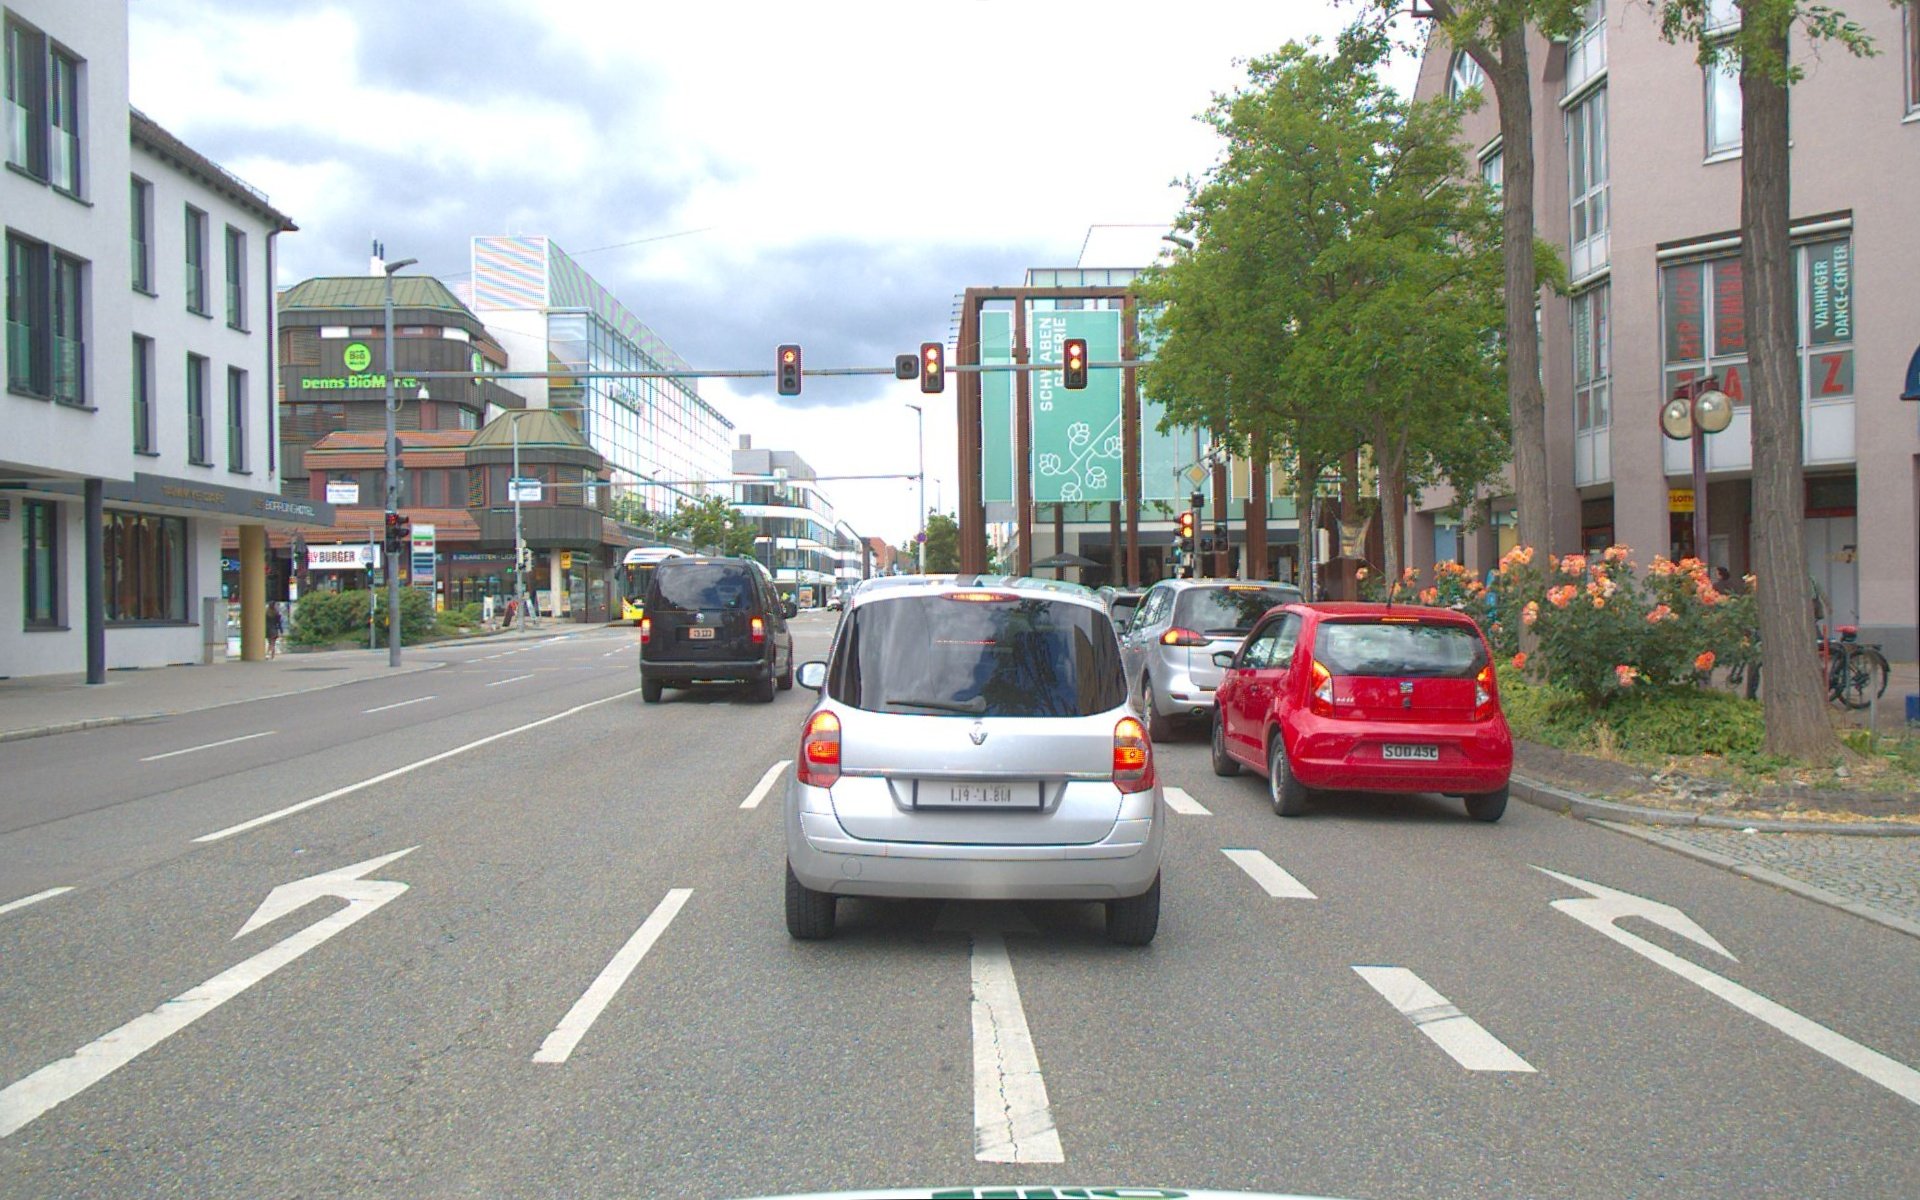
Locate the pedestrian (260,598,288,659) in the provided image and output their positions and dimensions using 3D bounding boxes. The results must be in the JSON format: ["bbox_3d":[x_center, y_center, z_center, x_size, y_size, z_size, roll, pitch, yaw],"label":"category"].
[{"bbox_3d":[-19.346,0.791,46.624,0.693,1.687,0.934,-1,0,-22],"label":"pedestrian"}]

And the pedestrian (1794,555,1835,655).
[{"bbox_3d":[14.863,0.086,28.782,0.624,1.706,0.588,0,0,28],"label":"pedestrian"}]

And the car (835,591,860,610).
[{"bbox_3d":[-9.338,0.048,137.426,1.764,1.567,4.065,0,0,0],"label":"car"}]

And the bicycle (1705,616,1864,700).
[{"bbox_3d":[10.236,0.718,20.566,1.731,1.014,0.447,-1,0,3],"label":"bicycle"}]

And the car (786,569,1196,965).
[{"bbox_3d":[0.094,0.652,8.226,1.606,1.554,3.393,1,0,-1],"label":"car"}]

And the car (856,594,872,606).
[{"bbox_3d":[-12.598,0.003,217.345,1.764,1.567,4.065,0,0,0],"label":"car"}]

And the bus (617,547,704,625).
[{"bbox_3d":[-13.448,-0.618,74.889,2.633,3.318,8.650,0,0,-2],"label":"bus"}]

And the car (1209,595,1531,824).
[{"bbox_3d":[2.962,0.719,12.601,1.554,1.468,3.348,1,0,-1],"label":"car"}]

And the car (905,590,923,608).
[{"bbox_3d":[-5.123,-0.109,184.207,1.953,1.983,4.949,0,0,-2],"label":"car"}]

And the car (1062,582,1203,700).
[{"bbox_3d":[2.552,0.567,25.179,1.555,1.623,3.866,1,0,-3],"label":"car"}]

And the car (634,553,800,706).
[{"bbox_3d":[-3.264,0.353,23.028,1.709,1.887,4.633,1,0,-1],"label":"car"}]

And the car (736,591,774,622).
[{"bbox_3d":[-9.880,0.305,79.755,1.524,1.417,3.286,0,0,-2],"label":"car"}]

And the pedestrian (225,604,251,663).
[{"bbox_3d":[-20.858,0.950,47.768,0.653,1.678,0.788,-1,0,-22],"label":"pedestrian"}]

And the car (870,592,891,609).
[{"bbox_3d":[-7.553,0.057,157.293,1.764,1.567,4.065,0,0,0],"label":"car"}]

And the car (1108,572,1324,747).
[{"bbox_3d":[2.662,0.566,18.007,1.555,1.662,3.914,1,0,-3],"label":"car"}]

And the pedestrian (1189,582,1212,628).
[{"bbox_3d":[8.848,0.185,60.789,0.641,1.679,0.557,-1,0,-15],"label":"pedestrian"}]

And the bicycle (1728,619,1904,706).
[{"bbox_3d":[10.342,0.756,20.013,1.861,1.014,0.468,-1,0,3],"label":"bicycle"}]

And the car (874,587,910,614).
[{"bbox_3d":[-4.471,0.025,109.165,1.877,1.706,4.244,0,0,4],"label":"car"}]
